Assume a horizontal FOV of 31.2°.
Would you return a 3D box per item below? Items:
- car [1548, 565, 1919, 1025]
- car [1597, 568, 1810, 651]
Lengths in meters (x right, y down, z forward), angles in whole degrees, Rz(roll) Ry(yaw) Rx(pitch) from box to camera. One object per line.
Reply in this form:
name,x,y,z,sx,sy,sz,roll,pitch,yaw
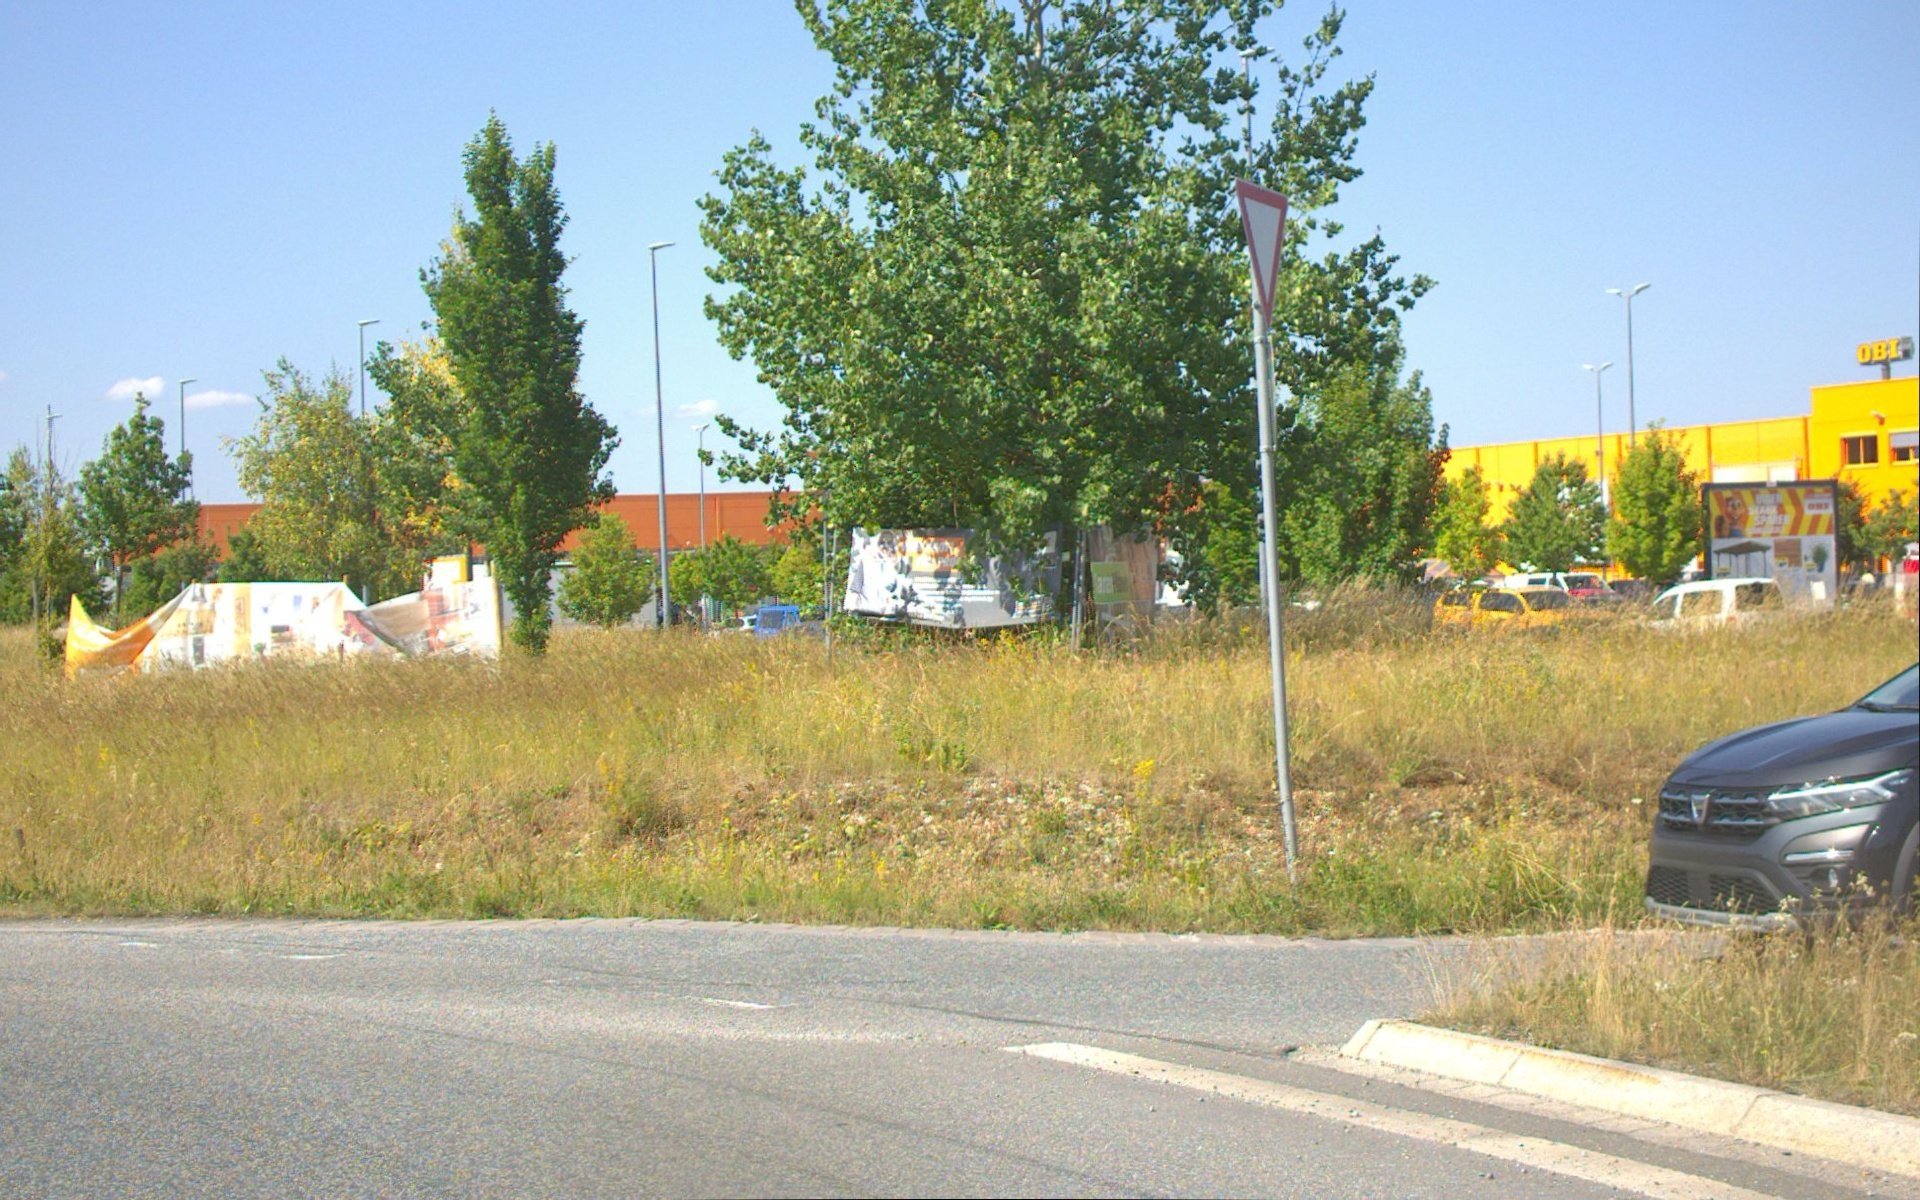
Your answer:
car,5.036,0.686,14.430,4.611,1.700,1.957,-2,-1,-17
car,15.640,0.212,72.466,1.994,1.612,3.999,-2,0,-38
